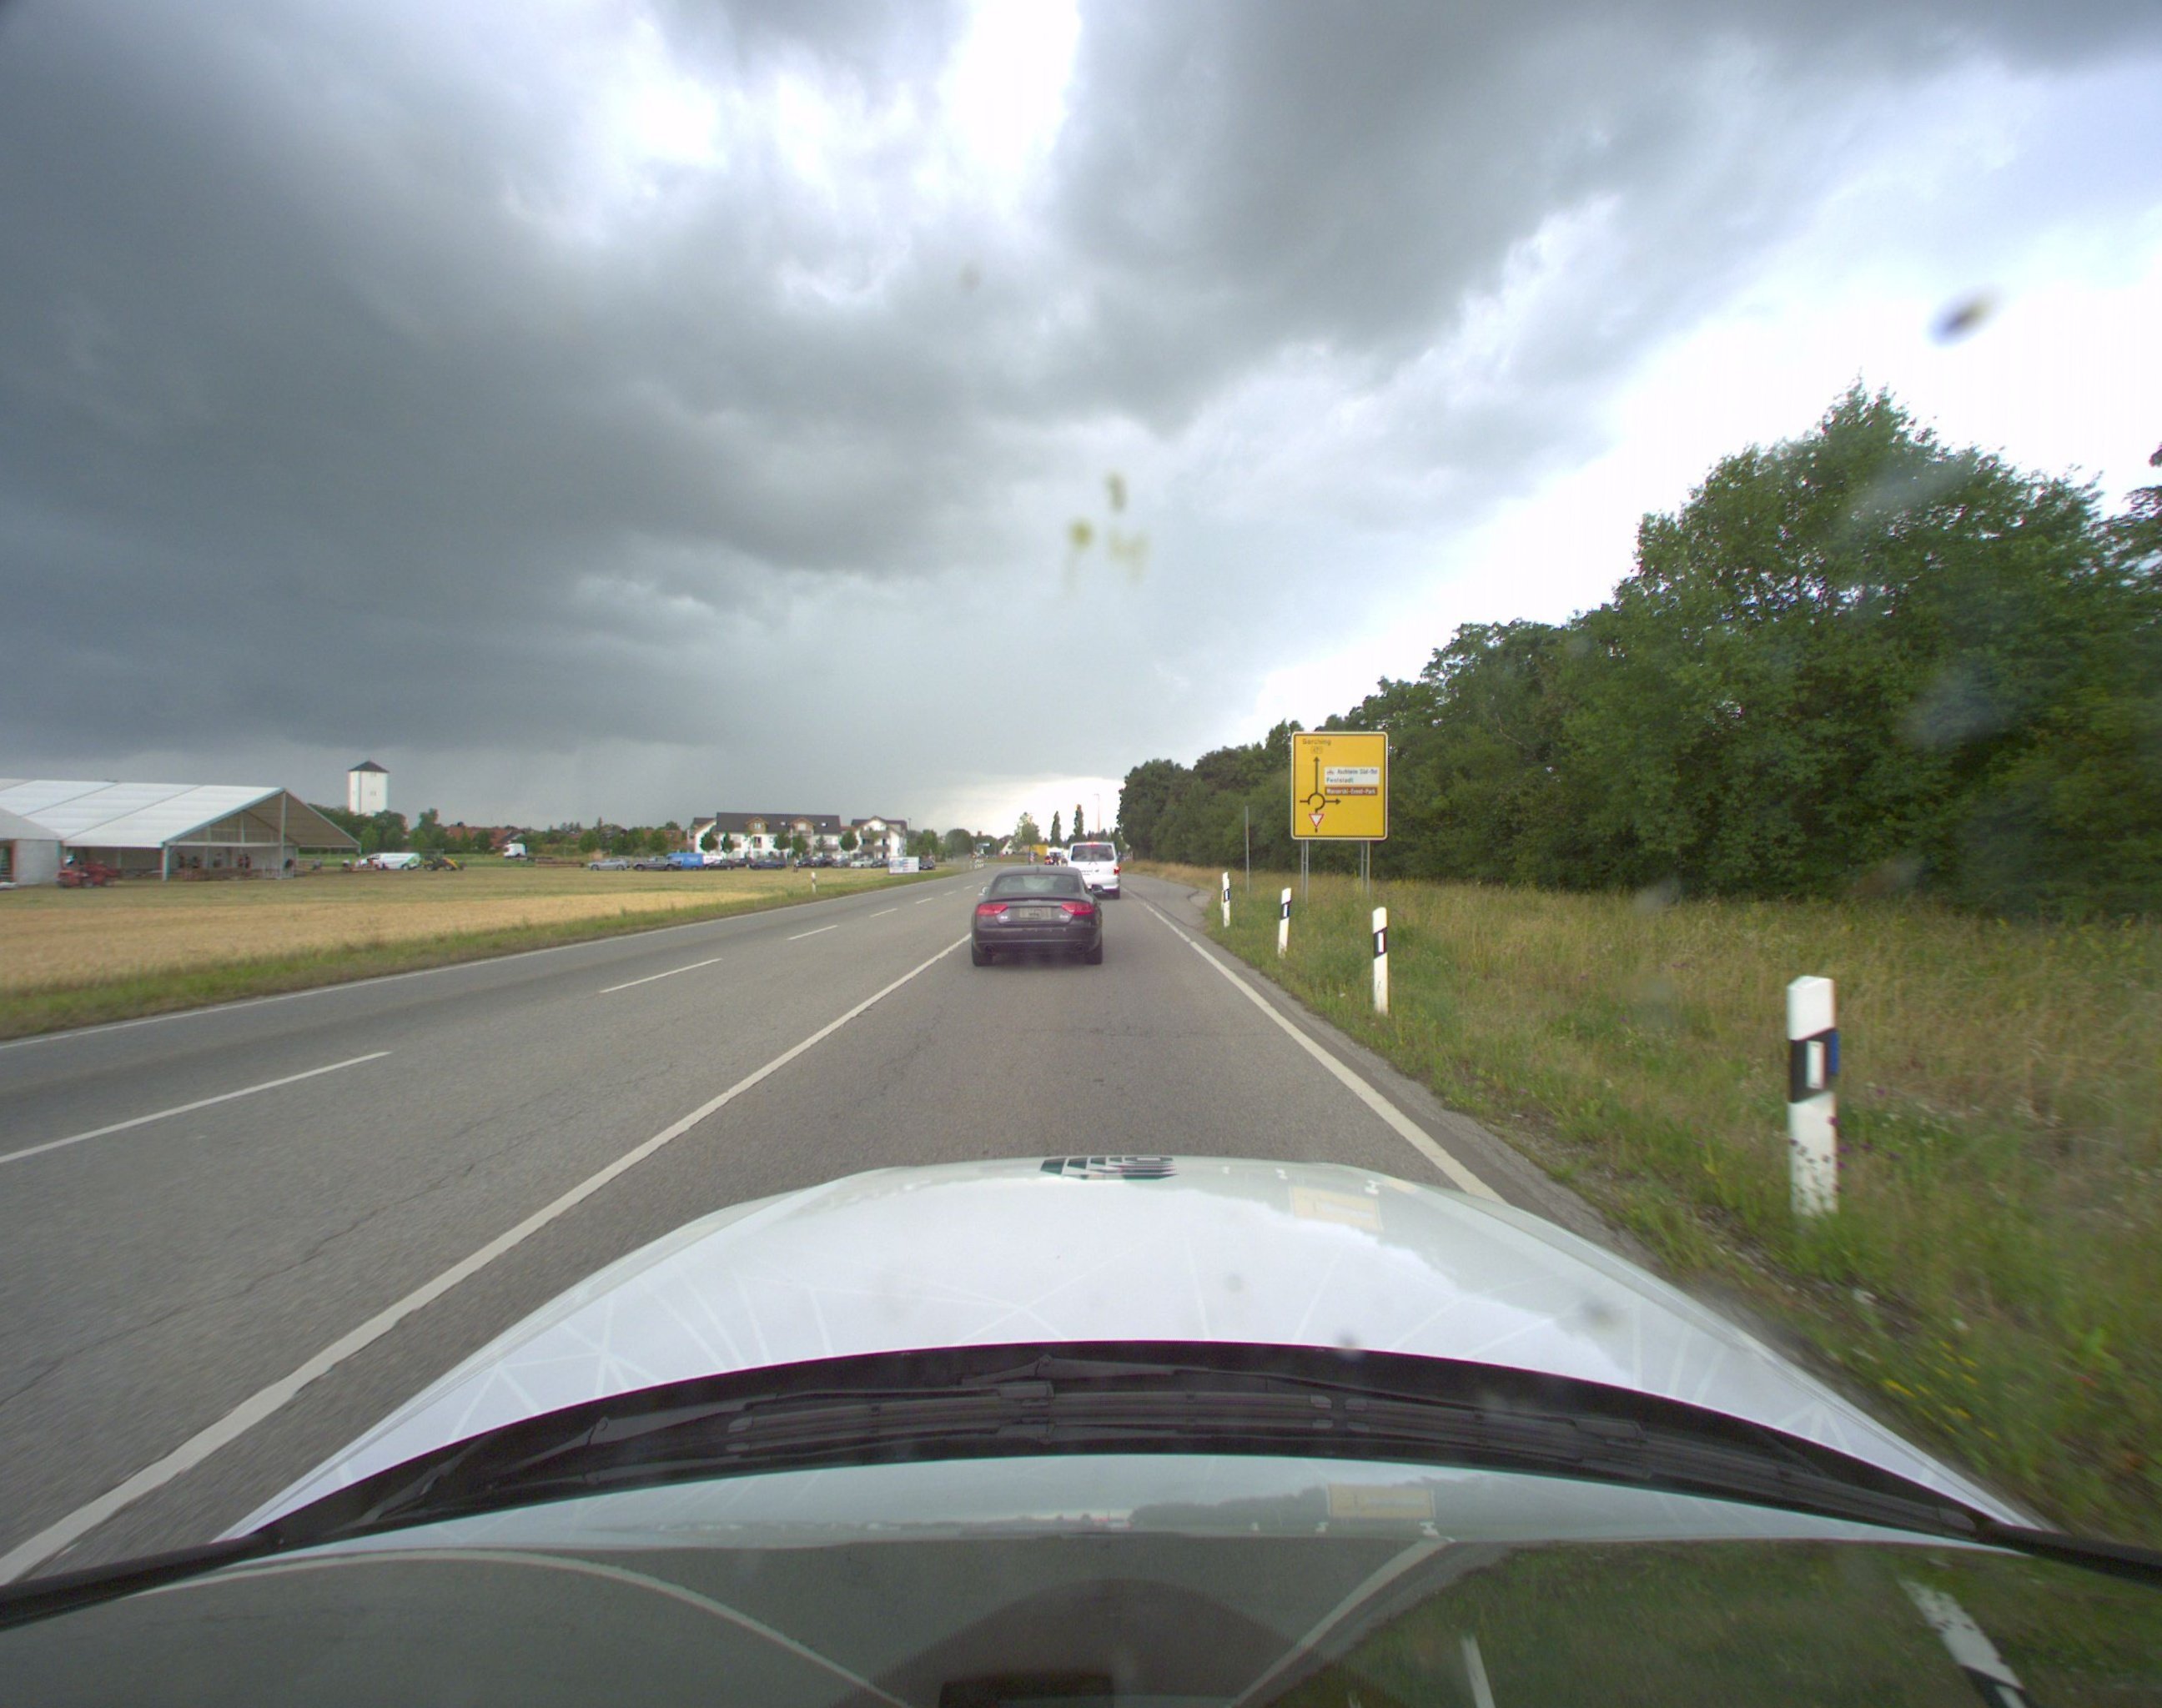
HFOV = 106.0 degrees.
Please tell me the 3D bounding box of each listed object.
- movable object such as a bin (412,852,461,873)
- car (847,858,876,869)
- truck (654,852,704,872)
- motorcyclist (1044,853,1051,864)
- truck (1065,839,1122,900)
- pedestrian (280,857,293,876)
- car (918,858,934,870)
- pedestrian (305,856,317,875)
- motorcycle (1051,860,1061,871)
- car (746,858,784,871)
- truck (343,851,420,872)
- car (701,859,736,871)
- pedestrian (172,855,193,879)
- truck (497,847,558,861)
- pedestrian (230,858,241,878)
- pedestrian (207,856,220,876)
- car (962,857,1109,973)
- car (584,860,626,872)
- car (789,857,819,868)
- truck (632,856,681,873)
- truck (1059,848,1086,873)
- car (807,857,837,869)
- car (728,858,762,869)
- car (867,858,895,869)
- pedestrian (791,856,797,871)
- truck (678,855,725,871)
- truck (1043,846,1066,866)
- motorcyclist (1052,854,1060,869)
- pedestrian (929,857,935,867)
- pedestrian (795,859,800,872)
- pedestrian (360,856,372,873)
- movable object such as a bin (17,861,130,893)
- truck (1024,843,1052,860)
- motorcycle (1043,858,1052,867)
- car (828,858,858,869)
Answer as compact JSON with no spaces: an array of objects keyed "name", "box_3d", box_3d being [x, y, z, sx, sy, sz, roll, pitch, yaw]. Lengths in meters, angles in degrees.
[{"name":"movable object such as a bin","box_3d":[-71.326,0.929,90.166,4.008,2.243,1.868,0,0,-29]},{"name":"car","box_3d":[-31.451,1.321,116.792,1.978,1.446,4.231,-1,0,18]},{"name":"truck","box_3d":[-50.584,0.953,102.616,5.472,2.446,2.375,0,0,-24]},{"name":"motorcyclist","box_3d":[-4.160,0.519,100.929,0.785,1.356,0.852,0,0,-7]},{"name":"truck","box_3d":[0.415,0.510,29.250,1.898,1.998,4.627,0,0,0]},{"name":"pedestrian","box_3d":[-73.317,1.168,75.147,0.691,1.776,0.689,0,-1,-24]},{"name":"car","box_3d":[-19.897,1.224,104.254,1.994,1.442,3.985,0,1,-11]},{"name":"pedestrian","box_3d":[-75.174,1.107,79.465,0.626,1.866,0.703,0,-1,-22]},{"name":"motorcycle","box_3d":[-2.418,1.125,79.027,0.917,1.094,2.189,0,0,1]},{"name":"car","box_3d":[-42.435,1.355,109.527,4.733,1.697,1.986,0,0,-21]},{"name":"truck","box_3d":[-77.880,0.845,90.812,6.079,2.217,2.696,0,0,-28]},{"name":"car","box_3d":[-47.725,1.496,107.322,4.170,1.519,1.986,0,0,-21]},{"name":"pedestrian","box_3d":[-76.469,1.135,69.319,0.874,2.014,0.766,0,-1,-6]},{"name":"truck","box_3d":[-102.377,0.084,150.642,9.296,2.530,3.306,0,0,6]},{"name":"pedestrian","box_3d":[-74.885,1.199,72.148,0.718,1.744,0.660,-1,-1,44]},{"name":"pedestrian","box_3d":[-76.370,1.038,71.708,0.750,1.779,0.736,-1,-1,41]},{"name":"car","box_3d":[-0.614,0.793,12.557,1.869,1.454,4.175,-1,0,-1]},{"name":"car","box_3d":[-58.087,1.482,99.524,4.318,1.461,1.875,0,0,-27]},{"name":"car","box_3d":[-40.619,1.215,119.436,1.978,1.629,4.231,-1,0,18]},{"name":"truck","box_3d":[-51.229,1.269,98.375,5.255,1.920,2.094,0,0,-27]},{"name":"truck","box_3d":[-0.695,0.541,68.347,2.187,2.014,5.083,0,0,0]},{"name":"car","box_3d":[-37.364,1.303,117.556,1.978,1.629,4.231,-1,0,18]},{"name":"car","box_3d":[-50.010,1.424,121.281,4.642,1.697,1.986,0,0,-21]},{"name":"car","box_3d":[-28.558,1.387,116.442,1.978,1.446,4.231,-1,0,18]},{"name":"pedestrian","box_3d":[-34.384,1.079,97.557,0.549,1.786,0.675,0,-1,-12]},{"name":"truck","box_3d":[-51.255,1.184,110.096,5.589,2.196,2.587,0,0,-24]},{"name":"truck","box_3d":[-3.684,0.298,112.184,2.624,2.737,5.852,0,0,-7]},{"name":"motorcyclist","box_3d":[-2.427,0.739,79.058,0.769,1.383,0.820,0,0,1]},{"name":"pedestrian","box_3d":[-22.993,1.249,125.559,0.695,1.586,0.660,0,-1,16]},{"name":"pedestrian","box_3d":[-34.275,1.391,98.492,0.591,1.555,0.622,0,-1,-19]},{"name":"pedestrian","box_3d":[-74.138,1.050,84.402,0.690,1.776,0.691,0,-1,-17]},{"name":"movable object such as a bin","box_3d":[-62.103,1.362,50.353,2.600,1.864,4.439,0,0,-23]},{"name":"truck","box_3d":[-9.272,-0.577,173.786,3.587,3.578,9.894,0,0,-19]},{"name":"motorcycle","box_3d":[-4.148,1.064,100.967,0.943,1.019,2.279,0,0,-6]},{"name":"car","box_3d":[-34.210,1.316,117.156,1.978,1.536,4.231,-1,0,18]}]
